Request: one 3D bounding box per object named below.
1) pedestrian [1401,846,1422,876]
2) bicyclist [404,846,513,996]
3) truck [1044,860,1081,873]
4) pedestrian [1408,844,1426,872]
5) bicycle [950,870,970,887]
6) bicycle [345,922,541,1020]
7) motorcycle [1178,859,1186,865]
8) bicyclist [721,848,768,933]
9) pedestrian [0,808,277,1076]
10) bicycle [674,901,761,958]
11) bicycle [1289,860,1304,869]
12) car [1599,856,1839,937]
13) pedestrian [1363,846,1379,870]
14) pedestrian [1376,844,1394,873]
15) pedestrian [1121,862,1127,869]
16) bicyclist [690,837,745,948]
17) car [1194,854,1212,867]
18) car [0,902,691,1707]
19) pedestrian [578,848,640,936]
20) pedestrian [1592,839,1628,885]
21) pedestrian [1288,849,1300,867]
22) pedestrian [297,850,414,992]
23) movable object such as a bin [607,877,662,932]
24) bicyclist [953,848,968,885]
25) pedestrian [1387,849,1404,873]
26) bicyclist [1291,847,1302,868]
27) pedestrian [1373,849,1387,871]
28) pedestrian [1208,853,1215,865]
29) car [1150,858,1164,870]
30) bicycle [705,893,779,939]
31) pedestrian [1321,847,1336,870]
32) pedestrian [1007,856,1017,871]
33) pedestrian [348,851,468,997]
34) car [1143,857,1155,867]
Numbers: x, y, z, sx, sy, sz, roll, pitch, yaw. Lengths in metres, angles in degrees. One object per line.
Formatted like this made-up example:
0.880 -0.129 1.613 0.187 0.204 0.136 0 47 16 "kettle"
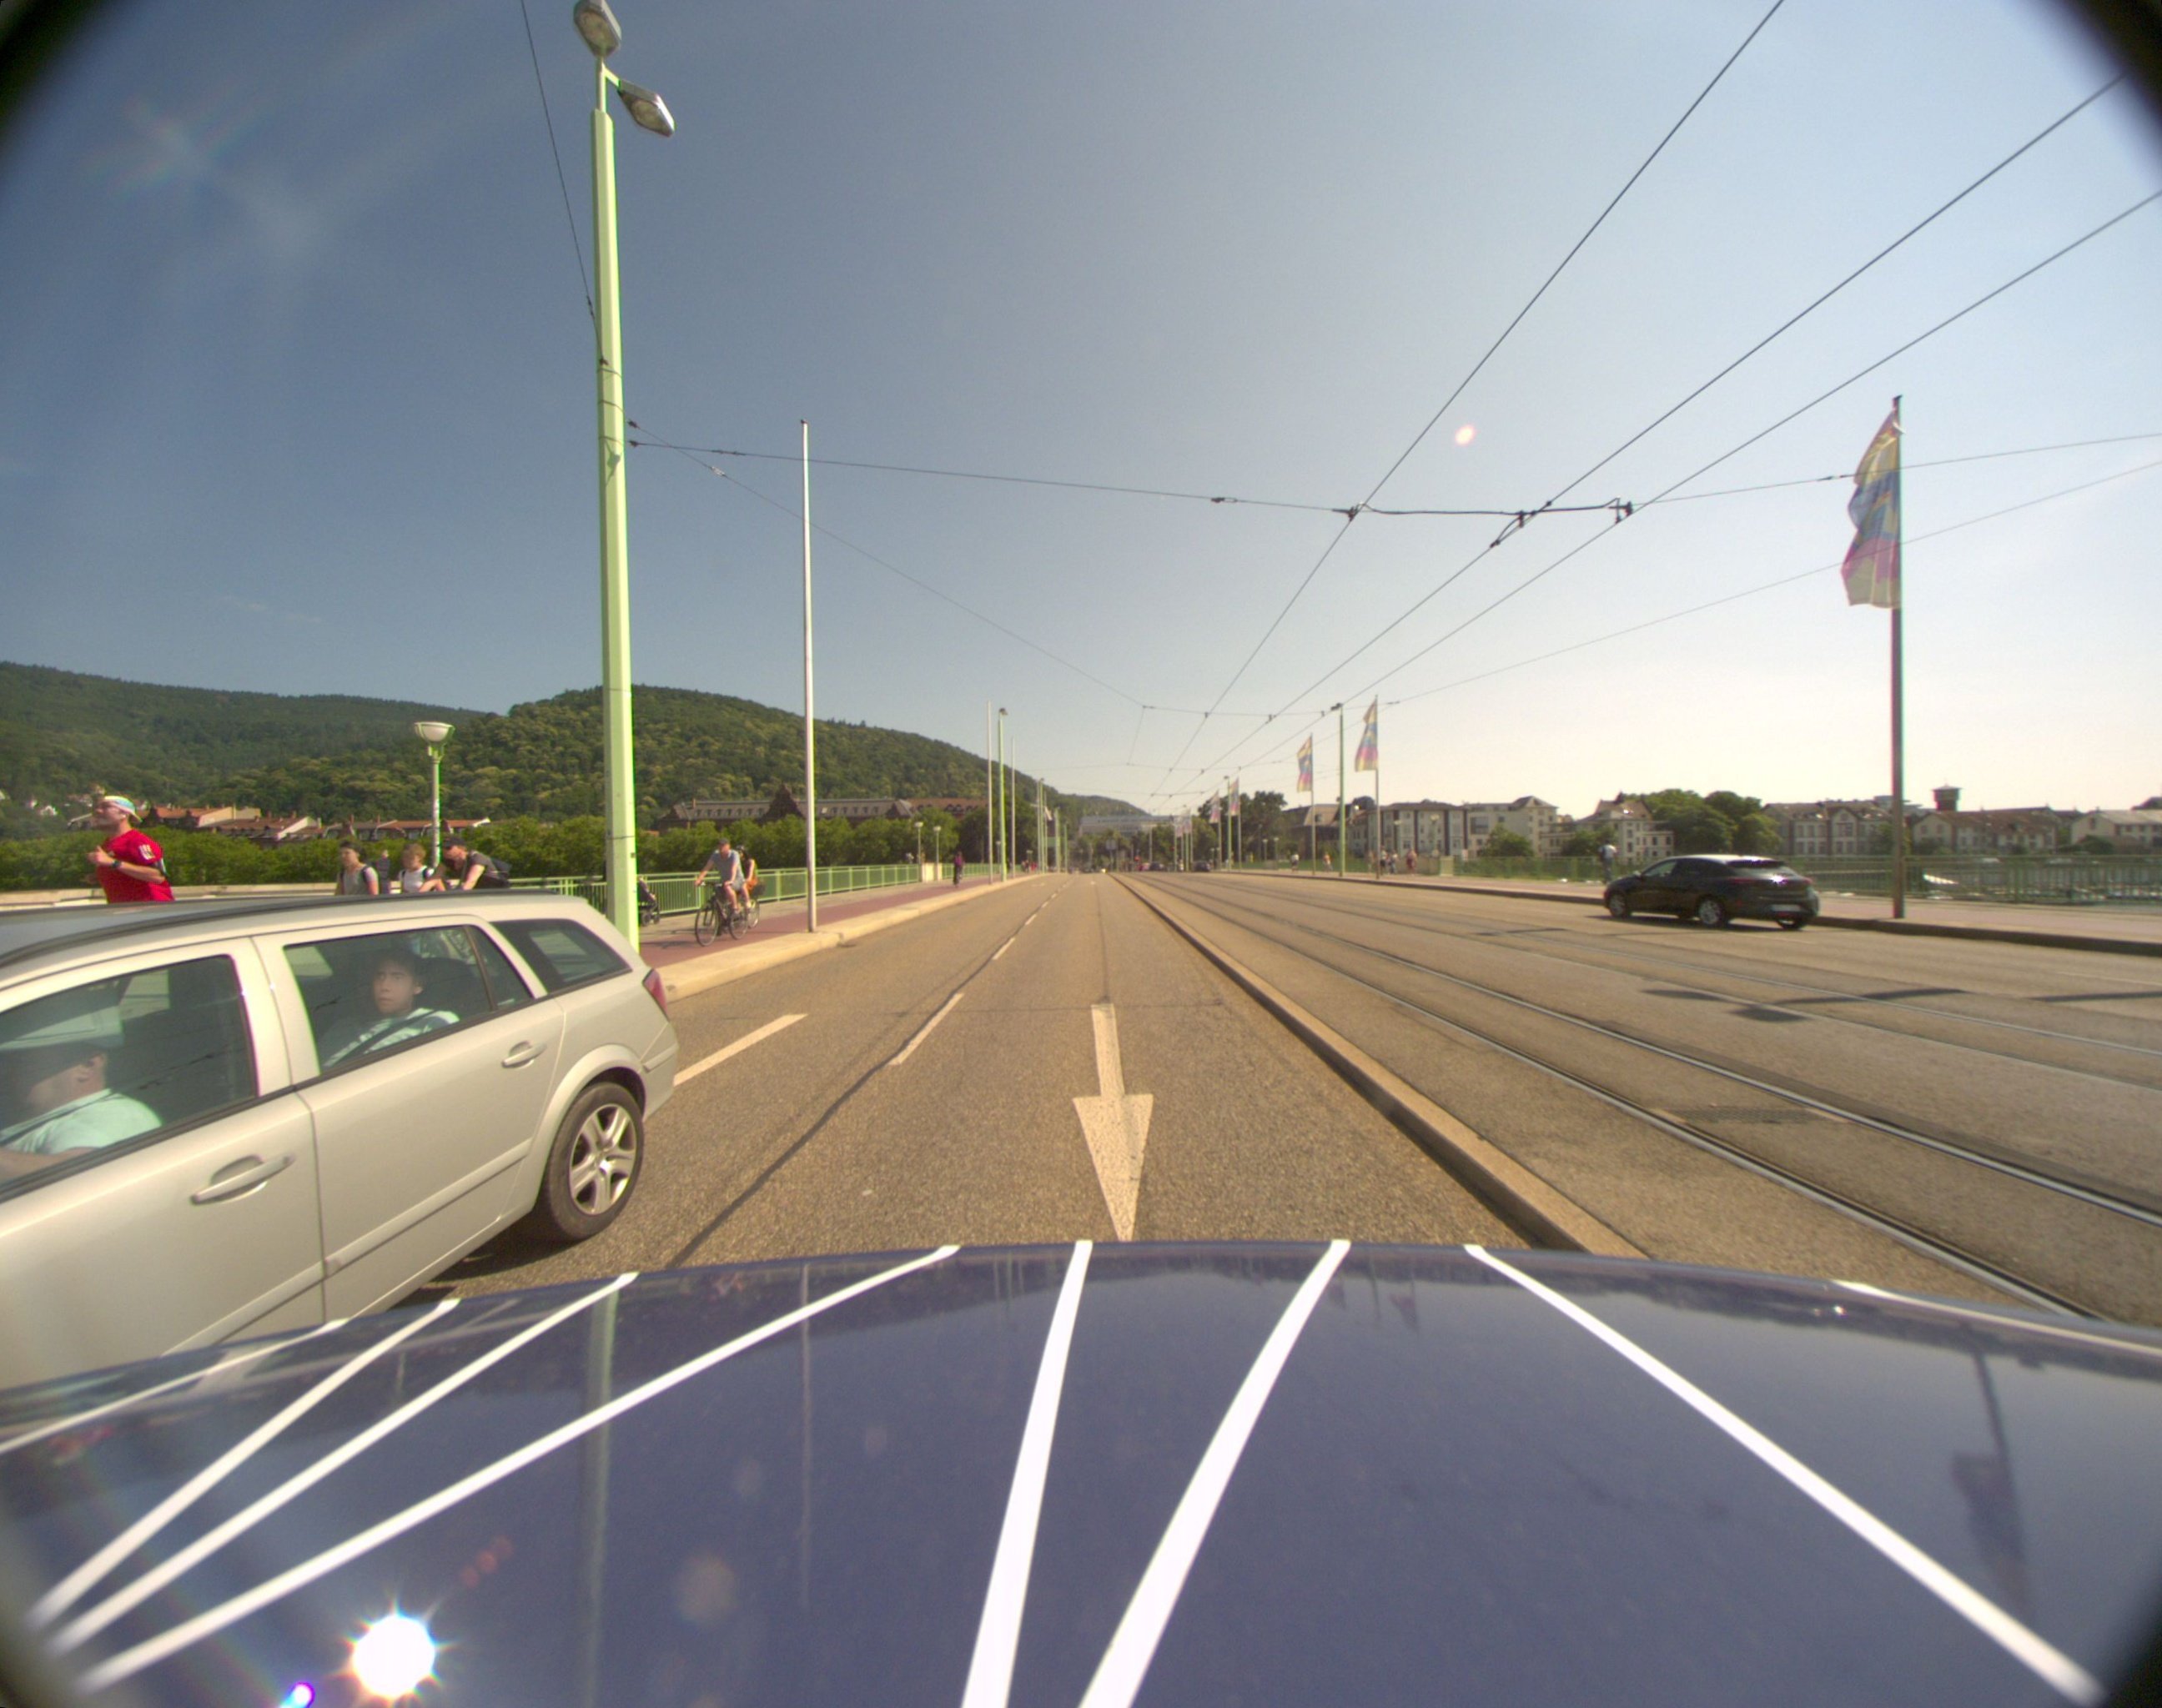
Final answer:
18.801 0.401 43.245 0.686 1.681 1.022 -3 1 1 "pedestrian"
-6.721 0.695 8.234 0.588 1.550 0.702 0 1 -1 "bicyclist"
-4.105 2.761 167.416 7.683 2.248 2.662 -5 0 5 "truck"
20.528 0.233 46.495 0.592 1.690 1.022 -3 1 1 "pedestrian"
-5.793 1.180 36.464 0.595 0.761 1.866 0 0 1 "bicycle"
-6.734 1.199 8.160 0.595 0.761 1.831 0 0 -1 "bicycle"
14.570 1.161 109.609 0.735 0.884 2.145 -5 0 1 "motorcycle"
-6.698 0.707 15.143 0.606 1.641 0.702 0 1 2 "bicyclist"
-7.361 0.625 5.986 0.813 1.913 1.127 0 1 1 "pedestrian"
-6.049 1.225 12.744 0.595 0.761 1.866 0 0 -1 "bicycle"
17.639 0.833 62.312 0.667 0.712 2.173 -1 0 1 "bicycle"
12.885 0.778 15.720 1.720 1.446 3.901 0 0 1 "car"
19.854 0.279 52.020 0.627 1.590 1.022 -3 1 1 "pedestrian"
18.808 0.272 47.005 0.671 1.690 1.022 -3 1 1 "pedestrian"
11.485 3.089 203.039 1.036 2.002 1.200 -3 2 -25 "pedestrian"
-6.050 0.625 12.673 0.588 1.809 0.702 0 1 -1 "bicyclist"
14.495 0.782 90.319 1.672 1.428 4.000 -1 1 2 "car"
-2.924 1.017 1.759 1.710 1.457 4.325 -2 0 1 "car"
-9.290 0.725 14.989 0.664 1.696 0.859 0 1 1 "pedestrian"
19.844 0.300 28.517 0.592 1.690 1.022 -3 1 1 "pedestrian"
20.531 0.394 73.299 0.787 1.690 1.022 -3 1 1 "pedestrian"
-8.778 0.782 9.223 0.669 1.649 0.746 0 1 1 "pedestrian"
-9.288 1.035 15.831 0.583 1.084 0.933 0 1 0 "movable object such as a bin"
-5.800 0.577 36.475 0.587 1.759 0.672 0 1 2 "bicyclist"
19.367 0.415 46.783 0.592 1.406 1.022 -3 1 1 "pedestrian"
17.629 0.292 62.172 0.666 1.641 0.622 -1 1 2 "bicyclist"
20.502 0.406 52.098 0.547 1.429 0.789 -3 1 1 "pedestrian"
18.882 0.672 109.784 0.787 1.690 1.022 -3 1 1 "pedestrian"
12.052 1.527 120.570 1.714 1.686 4.000 -5 0 2 "car"
-6.704 1.207 15.110 0.595 0.761 1.866 0 0 1 "bicycle"
19.242 0.344 59.147 0.787 1.690 1.022 -3 1 1 "pedestrian"
-7.541 1.043 82.566 0.950 1.653 1.082 1 1 1 "pedestrian"
-7.918 0.785 8.975 0.664 1.649 0.825 0 1 1 "pedestrian"
12.034 1.454 134.967 1.814 1.611 4.000 -5 0 2 "car"
